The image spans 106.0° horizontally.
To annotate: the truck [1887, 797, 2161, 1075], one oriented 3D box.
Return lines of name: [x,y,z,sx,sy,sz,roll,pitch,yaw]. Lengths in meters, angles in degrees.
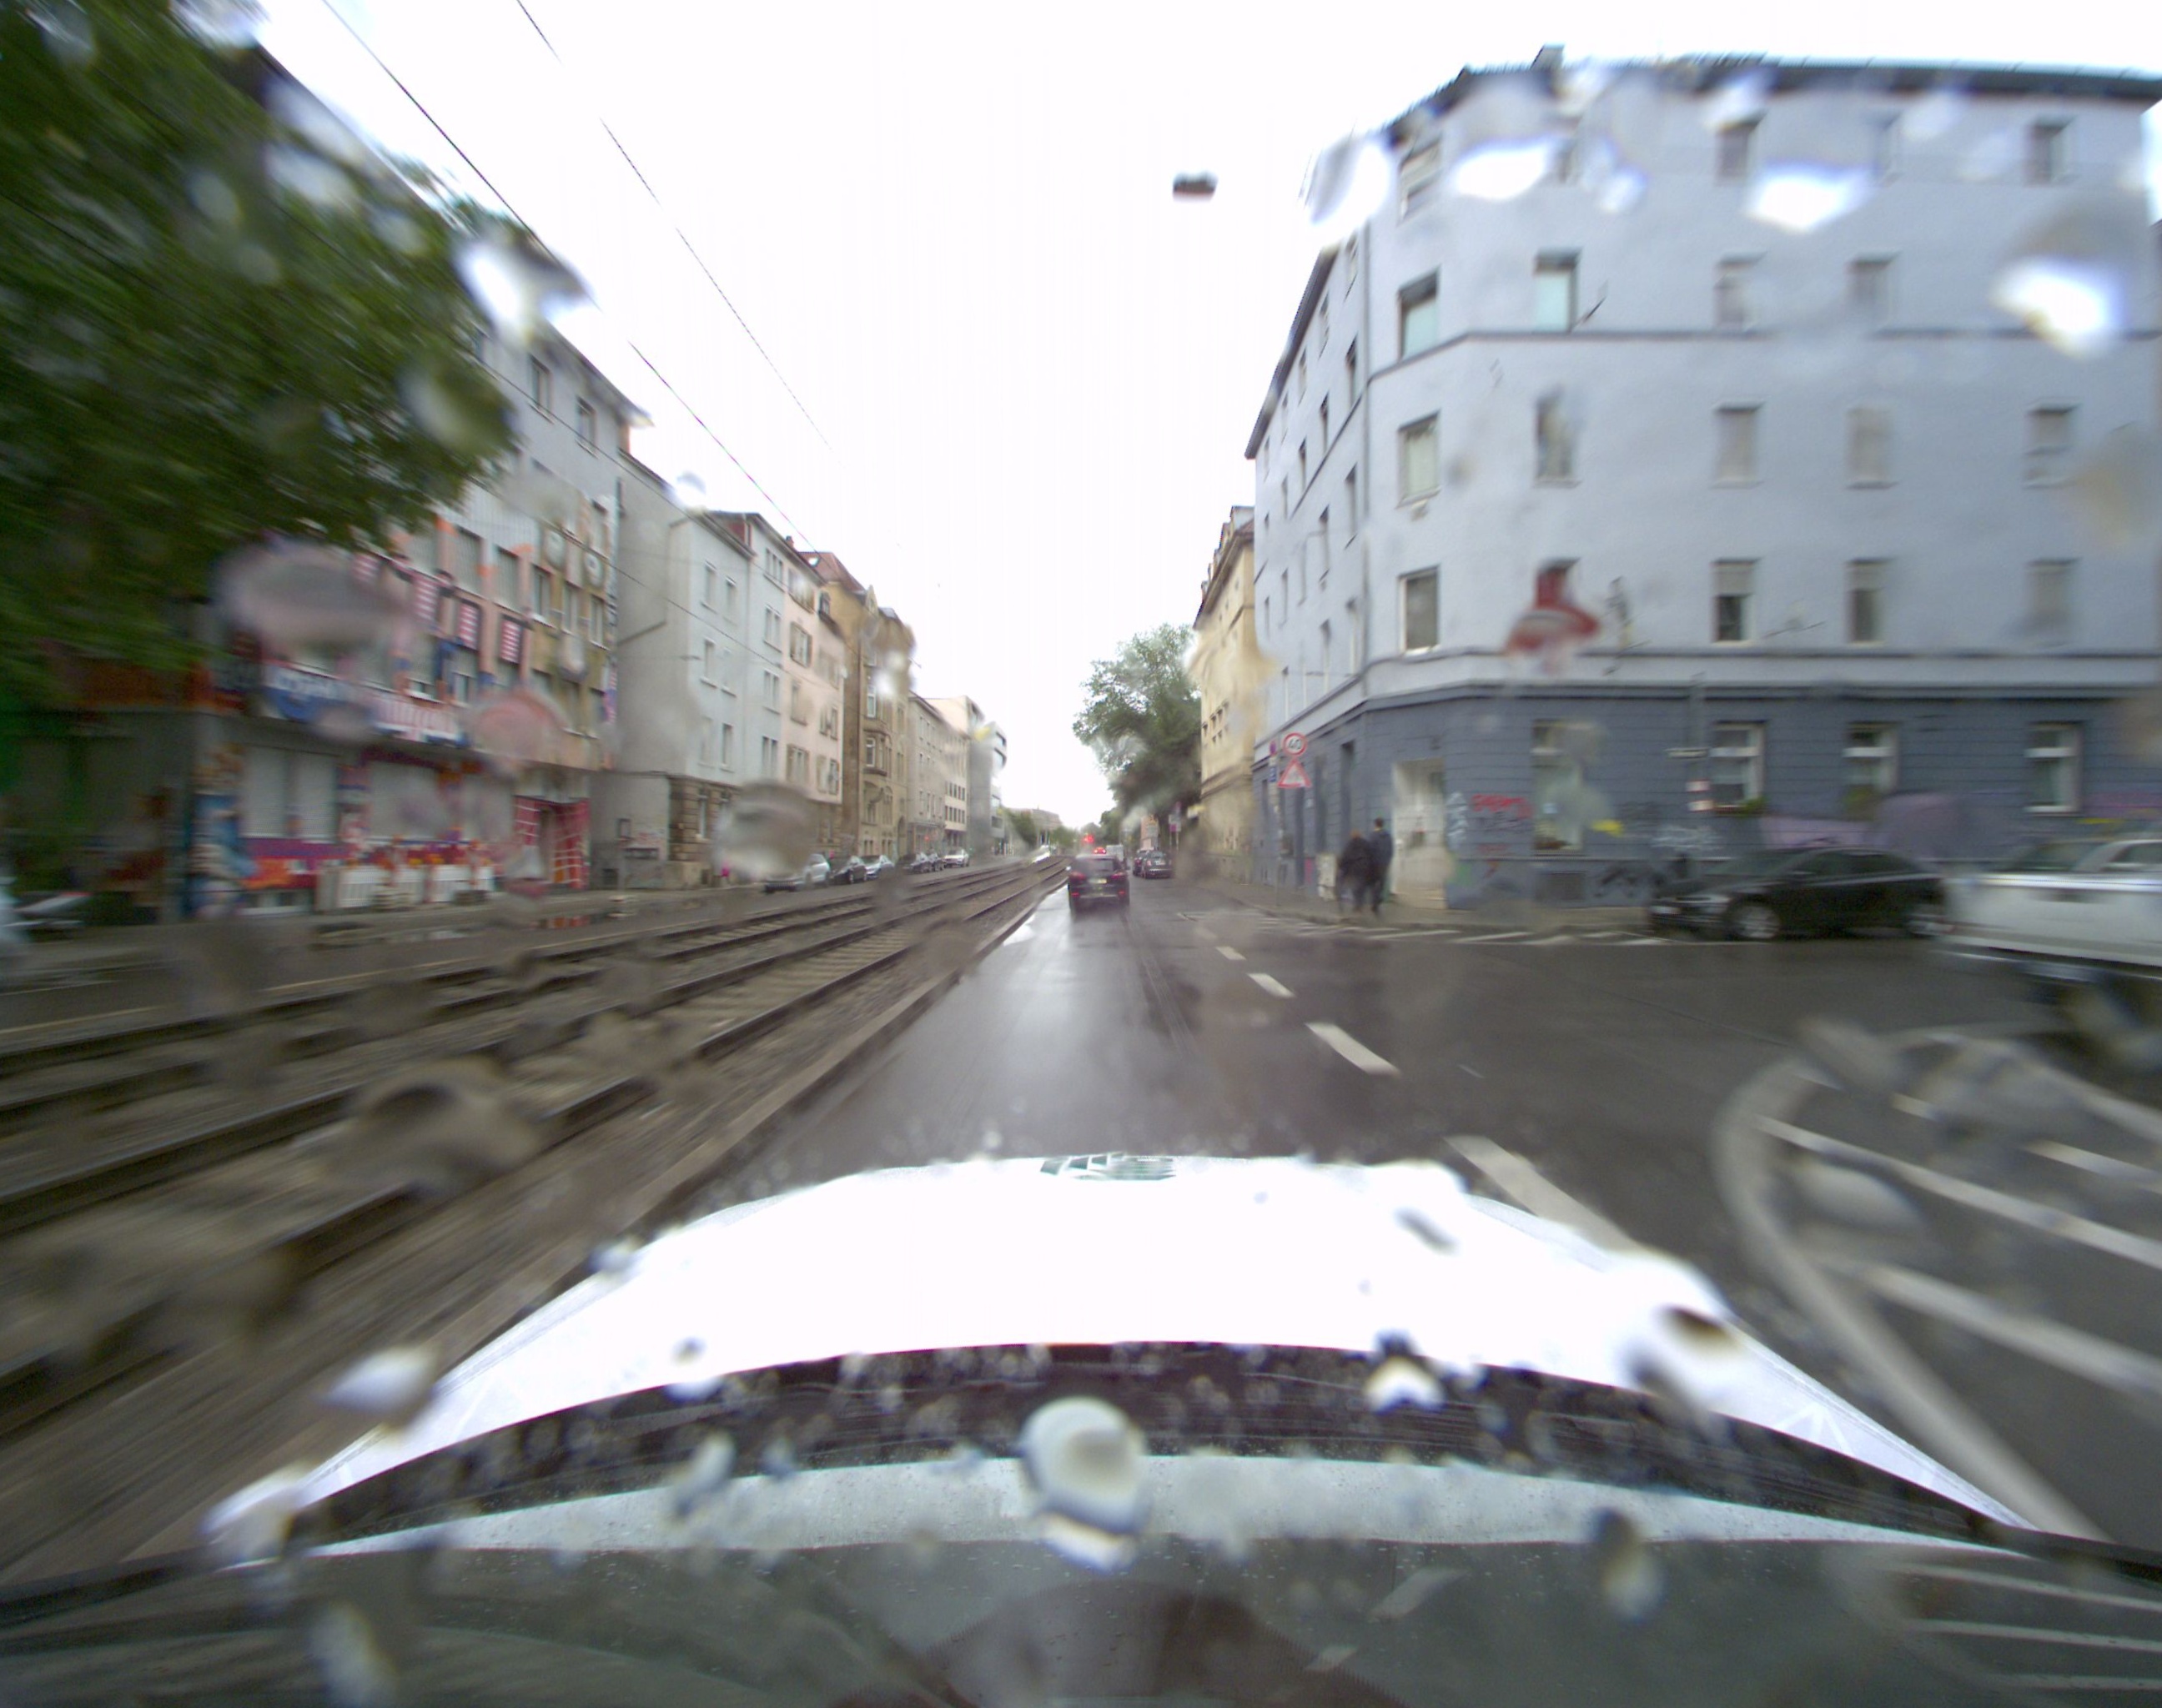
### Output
truck: [9.579,0.498,6.124,5.043,1.818,2.083,-1,0,-1]

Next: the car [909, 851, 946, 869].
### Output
car: [-11.983,0.473,63.867,1.986,1.376,4.239,0,0,1]

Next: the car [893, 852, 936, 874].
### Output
car: [-11.793,0.624,57.873,1.986,1.519,4.677,0,0,1]

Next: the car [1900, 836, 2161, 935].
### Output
car: [16.068,0.468,13.204,3.703,1.471,1.789,-1,0,3]

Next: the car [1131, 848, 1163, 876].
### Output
car: [3.886,0.442,48.252,1.637,1.516,4.039,0,1,1]

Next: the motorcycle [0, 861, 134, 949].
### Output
motorcycle: [-17.667,0.829,13.846,0.637,1.379,2.119,0,0,0]

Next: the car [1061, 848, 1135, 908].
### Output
car: [0.522,0.673,24.143,1.986,1.594,4.273,-1,-1,2]

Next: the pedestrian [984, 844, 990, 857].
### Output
pedestrian: [-13.240,-0.486,114.232,0.741,1.853,0.839,-1,-1,0]

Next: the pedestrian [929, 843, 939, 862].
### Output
pedestrian: [-13.761,-0.125,76.300,0.799,1.750,0.984,0,0,0]

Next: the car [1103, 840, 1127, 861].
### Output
car: [3.034,-0.312,72.972,1.986,1.816,4.273,-1,-1,2]

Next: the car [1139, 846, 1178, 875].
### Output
car: [4.095,0.317,43.625,1.733,1.489,4.001,0,1,1]

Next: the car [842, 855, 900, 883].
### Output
car: [-12.205,0.854,47.656,1.986,1.519,4.993,0,0,1]

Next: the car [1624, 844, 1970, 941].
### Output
car: [11.398,0.580,13.195,3.970,1.430,1.789,-1,0,3]

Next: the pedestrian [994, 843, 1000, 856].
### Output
pedestrian: [-11.812,-0.615,114.923,0.741,1.853,0.839,-1,-1,0]

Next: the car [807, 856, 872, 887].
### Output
car: [-12.381,0.860,41.977,1.986,1.519,4.210,0,0,1]

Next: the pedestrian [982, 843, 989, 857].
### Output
pedestrian: [-12.680,-0.489,108.092,0.741,1.853,0.839,-1,-1,0]

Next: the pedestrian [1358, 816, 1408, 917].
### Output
pedestrian: [6.150,0.249,16.618,0.733,2.013,0.821,0,0,0]

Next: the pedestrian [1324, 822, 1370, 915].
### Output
pedestrian: [5.407,0.277,16.583,0.659,1.852,0.821,0,0,0]

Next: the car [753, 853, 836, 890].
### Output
car: [-12.599,0.743,36.118,1.986,1.519,4.436,0,0,1]

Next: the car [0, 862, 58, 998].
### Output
car: [-13.457,0.885,7.870,1.715,1.570,4.221,0,0,1]

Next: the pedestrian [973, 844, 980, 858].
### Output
pedestrian: [-13.832,-0.413,107.807,0.741,1.853,0.839,-1,-1,0]

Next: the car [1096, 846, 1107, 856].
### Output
car: [3.594,-0.487,142.719,1.986,1.594,4.273,-1,-1,2]

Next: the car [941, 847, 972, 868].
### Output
car: [-11.458,0.334,75.382,1.986,1.839,5.072,0,0,1]

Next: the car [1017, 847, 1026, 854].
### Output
car: [-13.264,-0.746,181.276,1.991,1.442,3.991,0,1,-7]
